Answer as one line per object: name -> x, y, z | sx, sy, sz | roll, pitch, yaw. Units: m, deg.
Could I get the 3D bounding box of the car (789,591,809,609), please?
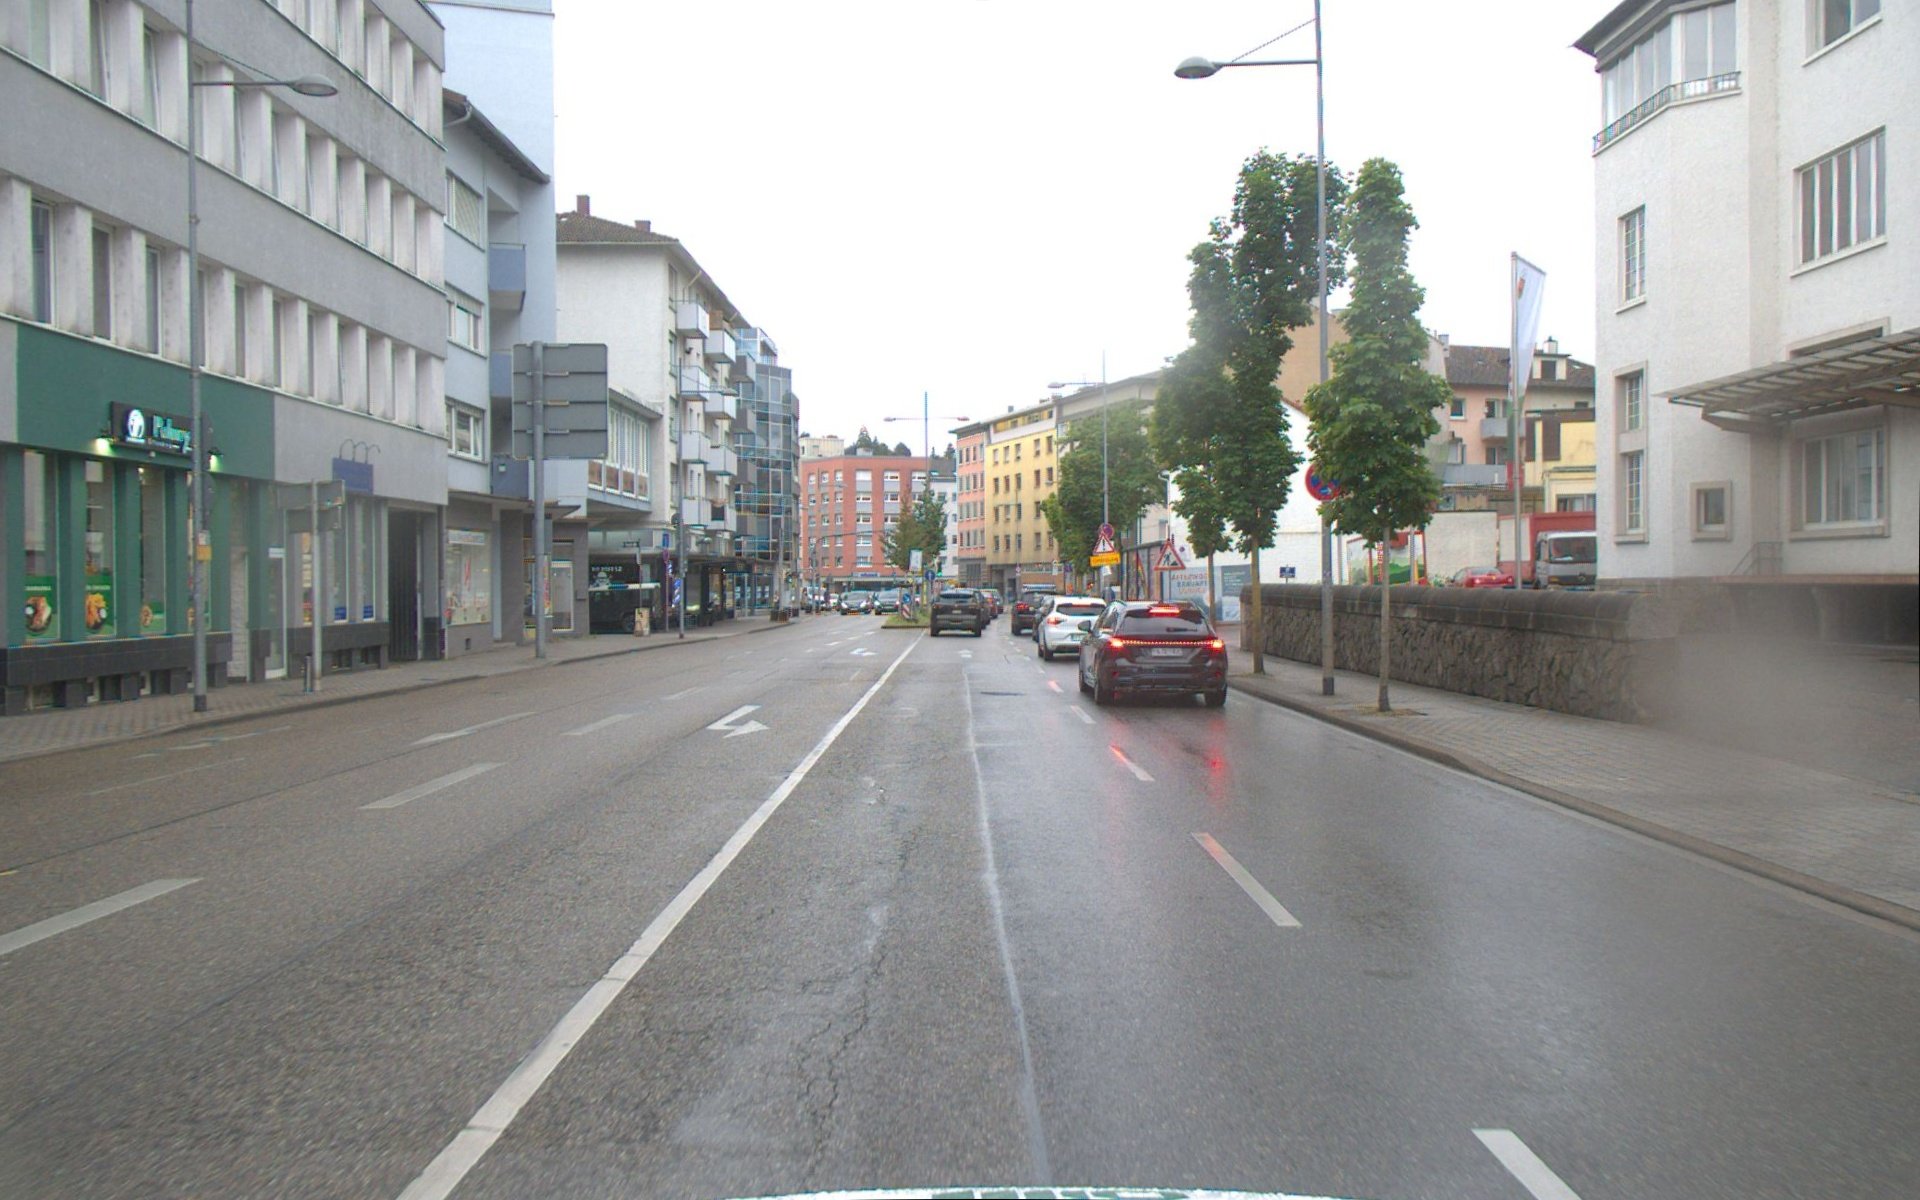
car -> -14.261, -0.021, 146.081 | 1.429, 1.455, 3.361 | 1, 1, -11

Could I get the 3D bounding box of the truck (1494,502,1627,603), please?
truck -> 21.183, -1.591, 58.782 | 2.576, 3.272, 6.933 | -2, 0, 5

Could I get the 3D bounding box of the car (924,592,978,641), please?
car -> -0.282, 0.566, 58.911 | 1.785, 1.628, 3.719 | 1, 0, 1

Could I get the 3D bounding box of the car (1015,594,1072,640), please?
car -> 2.720, 0.519, 53.229 | 1.749, 1.424, 3.720 | 0, 0, 4

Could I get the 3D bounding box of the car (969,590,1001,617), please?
car -> 1.321, 0.201, 89.784 | 1.607, 1.405, 3.347 | -2, 0, -1

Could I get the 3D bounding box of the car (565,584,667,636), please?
car -> -14.260, 0.398, 68.719 | 3.882, 2.070, 1.580 | -1, 0, 0

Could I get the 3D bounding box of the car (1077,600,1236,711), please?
car -> 2.789, 0.742, 24.442 | 1.753, 1.427, 4.633 | -1, 0, 0

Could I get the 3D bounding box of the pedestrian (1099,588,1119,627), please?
pedestrian -> 6.883, 0.348, 76.394 | 0.774, 1.786, 0.872 | -2, 0, 13

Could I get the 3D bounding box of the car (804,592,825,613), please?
car -> -11.826, 0.211, 134.399 | 1.521, 1.598, 3.341 | 2, -1, -9

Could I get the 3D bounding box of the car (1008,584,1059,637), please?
car -> 2.716, 0.374, 61.448 | 1.792, 1.837, 3.720 | 1, 1, 2

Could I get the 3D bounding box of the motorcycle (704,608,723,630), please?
motorcycle -> -11.725, 0.882, 78.739 | 0.515, 1.013, 2.137 | 1, 0, 2

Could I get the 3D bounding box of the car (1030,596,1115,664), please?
car -> 2.597, 0.669, 38.902 | 1.631, 1.420, 3.866 | -1, 1, -2

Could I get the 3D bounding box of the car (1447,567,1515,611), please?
car -> 18.530, -0.392, 58.896 | 1.556, 1.482, 3.266 | -2, 0, 4

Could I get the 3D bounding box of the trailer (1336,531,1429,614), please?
trailer -> 15.294, -0.990, 60.163 | 2.083, 2.763, 5.393 | -3, 1, 3

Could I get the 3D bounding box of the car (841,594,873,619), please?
car -> -6.812, 0.424, 109.852 | 1.673, 1.493, 4.829 | -3, 0, 1

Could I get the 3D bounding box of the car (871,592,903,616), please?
car -> -4.598, 0.247, 104.638 | 1.685, 1.448, 4.165 | -3, 0, 0

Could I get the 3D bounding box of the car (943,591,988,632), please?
car -> 0.244, 0.476, 69.200 | 1.785, 1.628, 3.719 | 1, 0, 1

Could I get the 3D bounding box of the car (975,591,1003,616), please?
car -> 1.766, 0.216, 101.078 | 1.607, 1.405, 3.347 | -2, 0, -1
